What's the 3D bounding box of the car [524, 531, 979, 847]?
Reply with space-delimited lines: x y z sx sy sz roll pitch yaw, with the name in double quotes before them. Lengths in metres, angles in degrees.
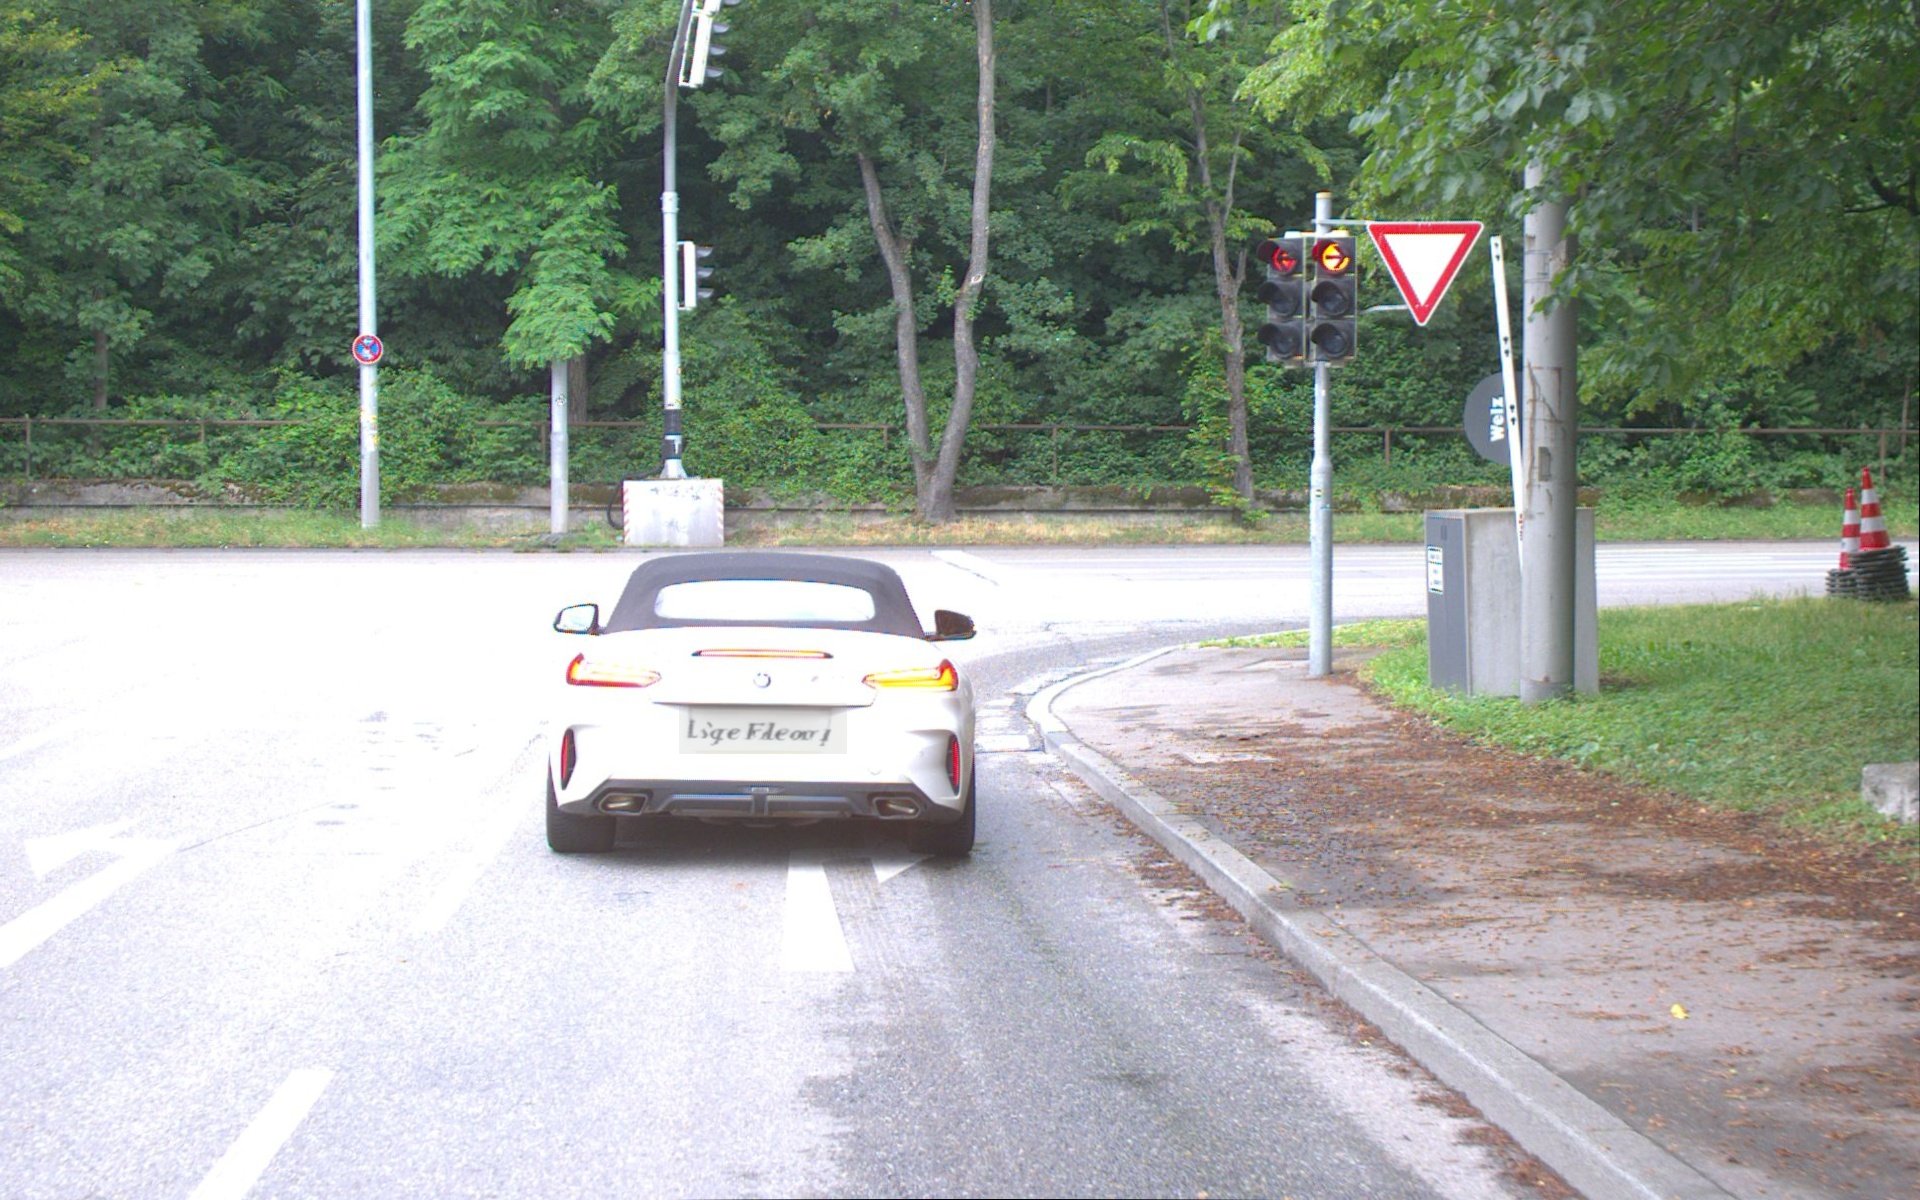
"car" -1.025 0.374 15.999 1.827 1.253 4.001 1 0 -5
